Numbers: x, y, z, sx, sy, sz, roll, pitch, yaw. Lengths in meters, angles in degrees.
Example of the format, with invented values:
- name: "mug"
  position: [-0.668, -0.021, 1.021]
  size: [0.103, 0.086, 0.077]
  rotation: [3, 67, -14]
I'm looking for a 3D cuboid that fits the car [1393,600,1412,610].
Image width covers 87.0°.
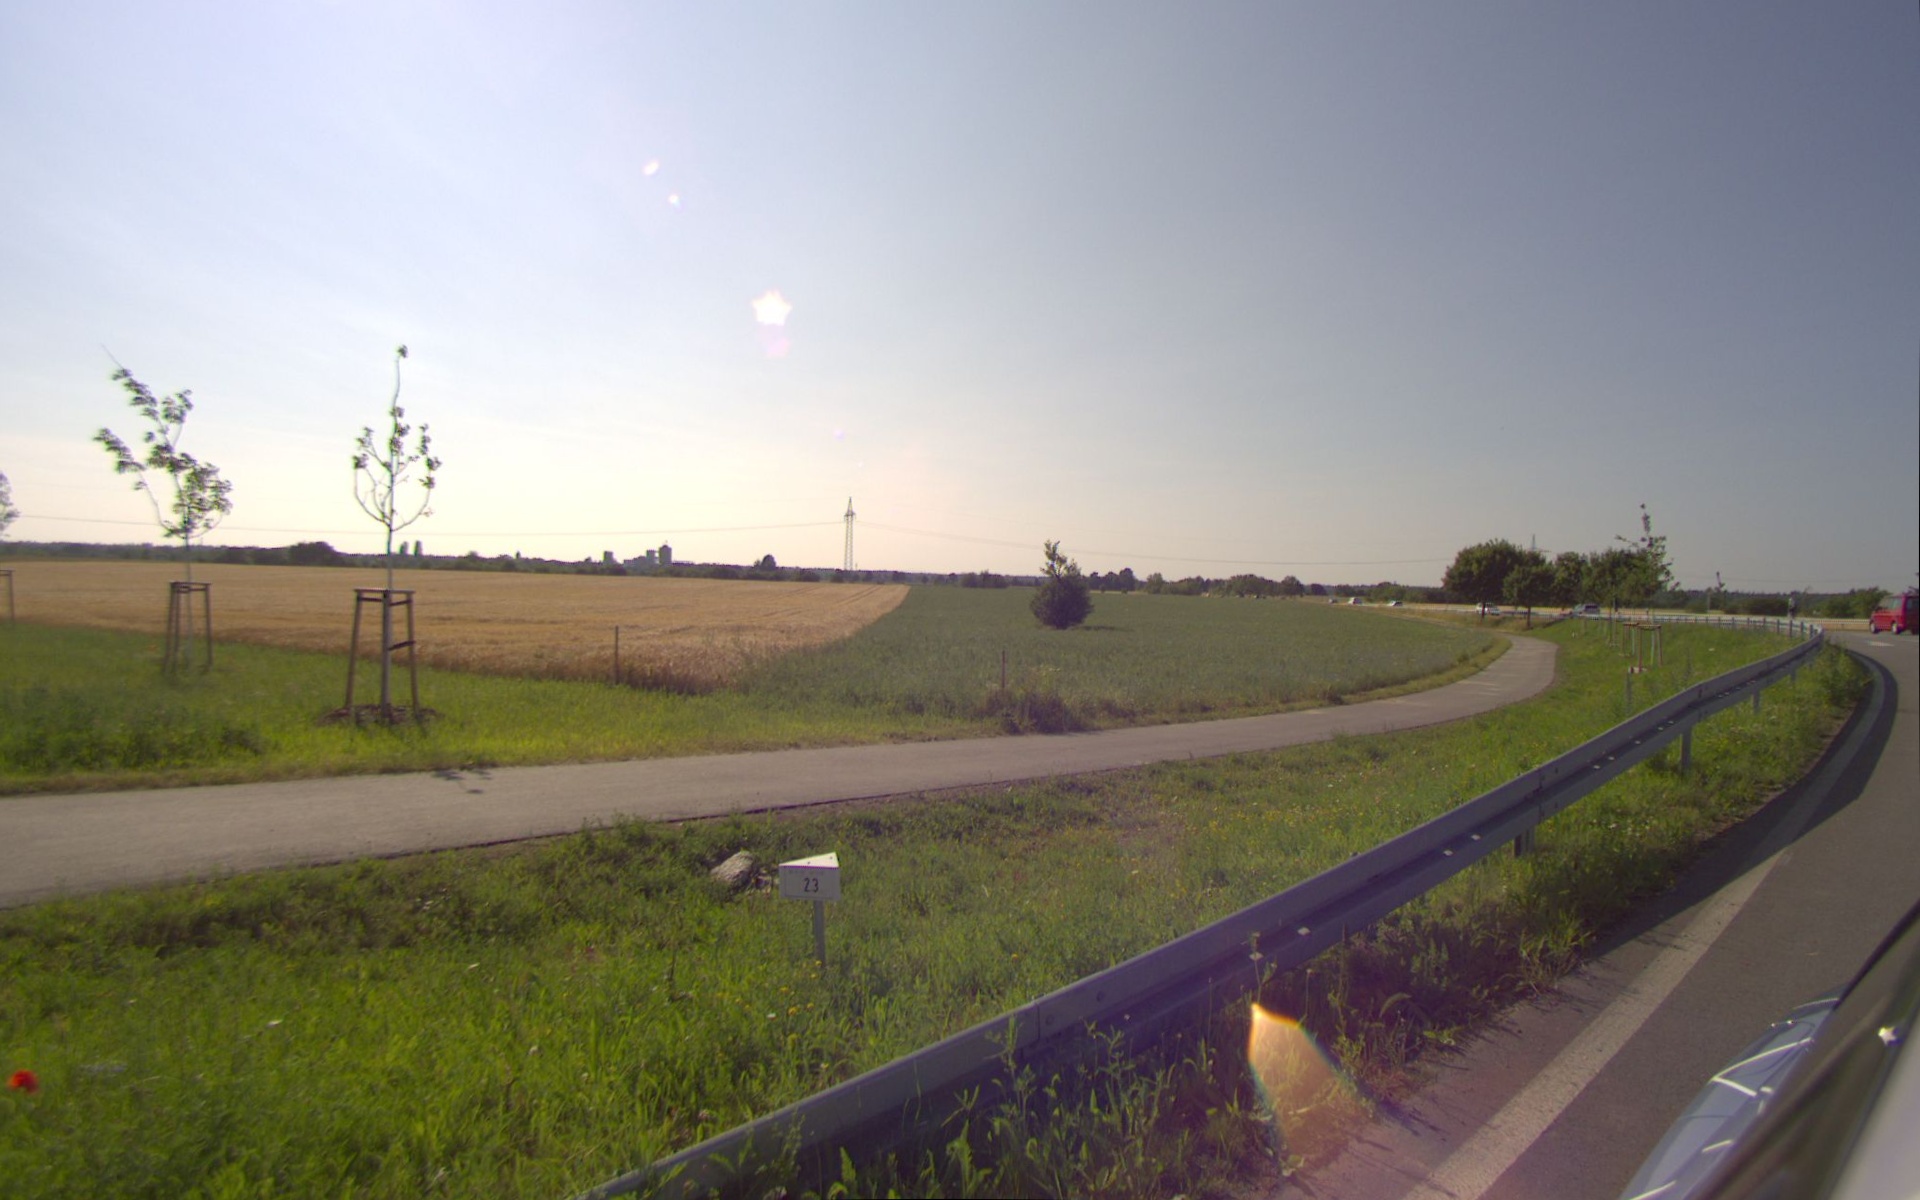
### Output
- name: "car"
  position: [79.843, 0.907, 182.504]
  size: [2.089, 1.512, 5.132]
  rotation: [0, -2, 12]

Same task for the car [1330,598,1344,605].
- name: "car"
  position: [85.807, 0.429, 230.390]
  size: [1.768, 1.467, 4.698]
  rotation: [1, -2, 4]

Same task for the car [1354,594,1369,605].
- name: "car"
  position: [84.218, -0.073, 212.121]
  size: [2.089, 2.040, 5.132]
  rotation: [0, -2, 12]

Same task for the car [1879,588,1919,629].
- name: "car"
  position: [48.147, 0.450, 50.699]
  size: [1.821, 1.965, 4.881]
  rotation: [1, 0, 26]

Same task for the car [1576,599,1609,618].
- name: "car"
  position: [69.641, 0.941, 111.565]
  size: [1.672, 1.693, 4.844]
  rotation: [-1, 3, 15]
